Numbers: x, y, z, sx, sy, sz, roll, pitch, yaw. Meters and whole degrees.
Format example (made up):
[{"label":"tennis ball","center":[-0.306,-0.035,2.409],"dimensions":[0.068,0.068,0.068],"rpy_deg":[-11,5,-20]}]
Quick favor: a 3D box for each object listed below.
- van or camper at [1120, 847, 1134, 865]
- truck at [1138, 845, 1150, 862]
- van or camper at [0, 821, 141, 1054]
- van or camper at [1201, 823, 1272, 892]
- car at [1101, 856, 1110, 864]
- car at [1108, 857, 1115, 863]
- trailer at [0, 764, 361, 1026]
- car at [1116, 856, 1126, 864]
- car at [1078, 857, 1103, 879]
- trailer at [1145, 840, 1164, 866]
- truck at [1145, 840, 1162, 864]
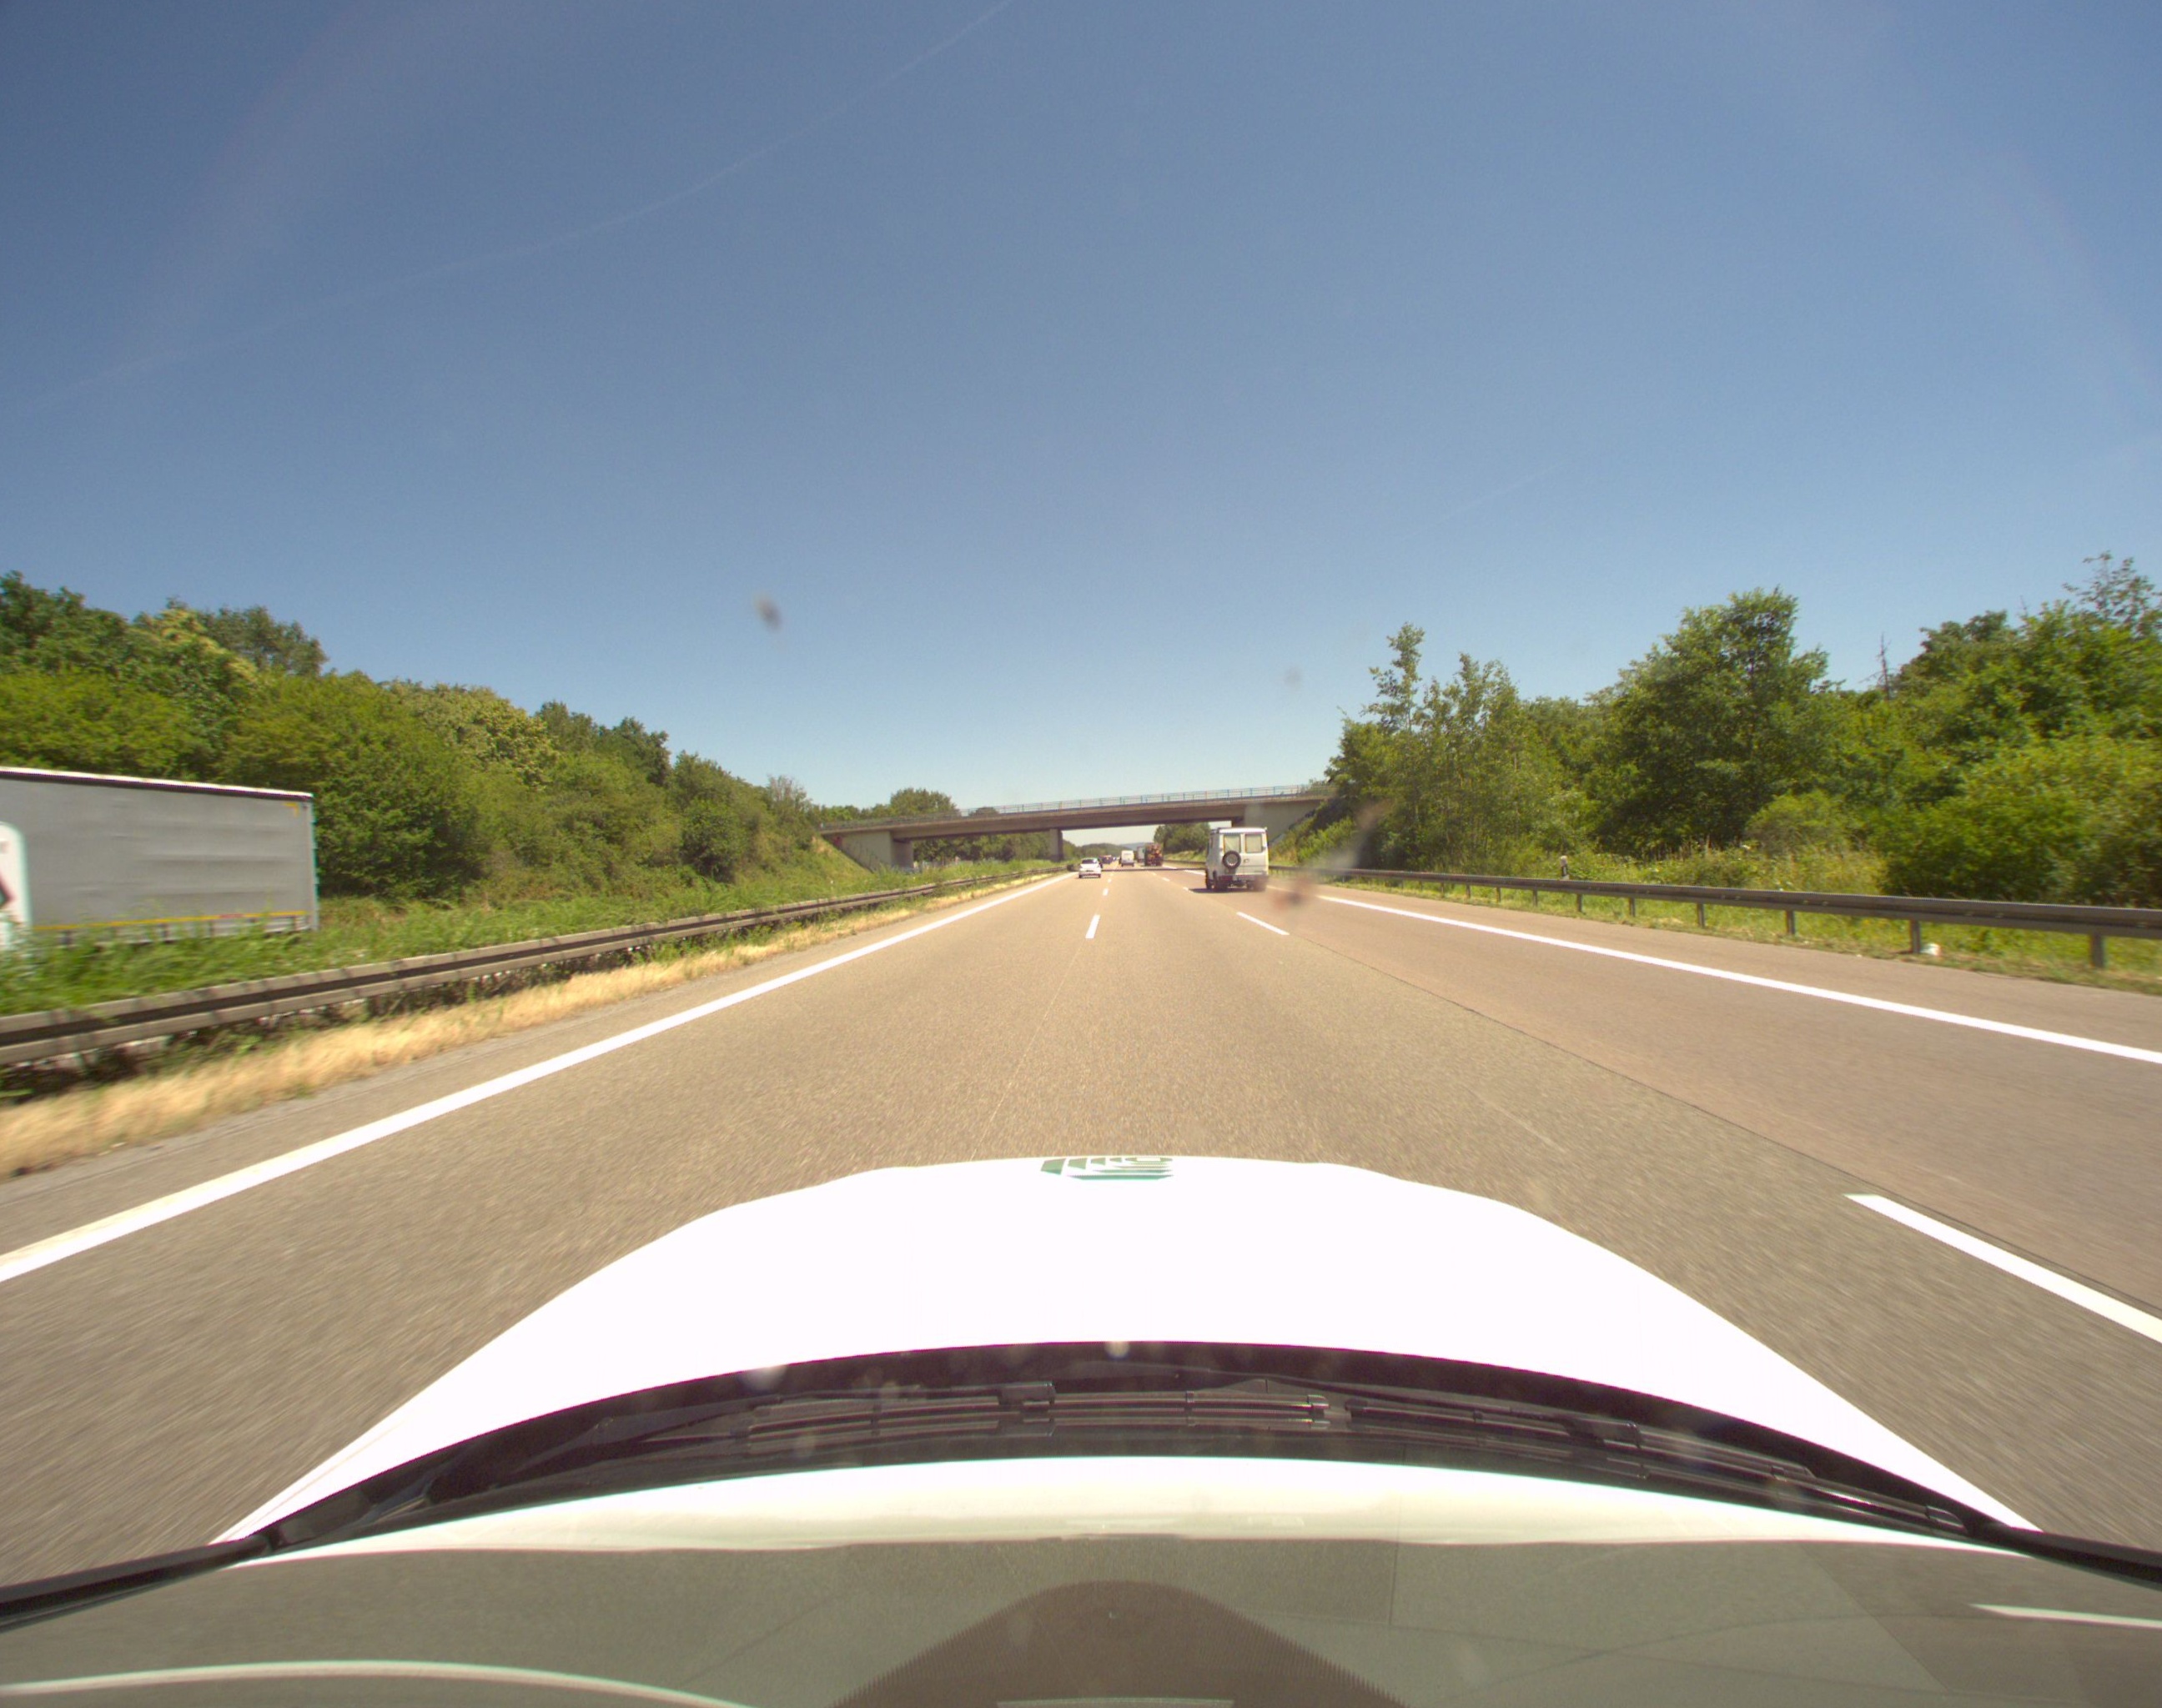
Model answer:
[{"label":"van or camper","center":[7.231,0.299,128.095],"dimensions":[2.049,2.622,5.990],"rpy_deg":[-1,-1,3]},{"label":"truck","center":[16.278,-0.106,211.347],"dimensions":[3.065,4.209,16.859],"rpy_deg":[0,0,4]},{"label":"van or camper","center":[-15.181,1.050,7.930],"dimensions":[2.601,2.967,7.866],"rpy_deg":[0,-1,4]},{"label":"van or camper","center":[6.688,0.172,35.853],"dimensions":[2.105,2.703,6.370],"rpy_deg":[-1,-1,2]},{"label":"car","center":[5.071,1.327,170.968],"dimensions":[1.850,1.652,4.001],"rpy_deg":[-1,-1,2]},{"label":"car","center":[8.287,1.688,220.404],"dimensions":[1.850,1.652,4.001],"rpy_deg":[-1,-1,2]},{"label":"trailer","center":[-19.145,0.670,12.233],"dimensions":[3.131,4.248,14.491],"rpy_deg":[0,0,3]},{"label":"car","center":[8.157,1.235,165.257],"dimensions":[1.850,1.652,4.001],"rpy_deg":[-1,-1,2]},{"label":"car","center":[0.755,1.075,62.984],"dimensions":[1.850,1.652,4.001],"rpy_deg":[0,-1,2]},{"label":"trailer","center":[11.969,-0.170,133.285],"dimensions":[2.642,3.958,13.647],"rpy_deg":[-1,0,3]},{"label":"truck","center":[12.378,-0.327,140.254],"dimensions":[2.658,3.994,6.641],"rpy_deg":[-1,0,3]}]
